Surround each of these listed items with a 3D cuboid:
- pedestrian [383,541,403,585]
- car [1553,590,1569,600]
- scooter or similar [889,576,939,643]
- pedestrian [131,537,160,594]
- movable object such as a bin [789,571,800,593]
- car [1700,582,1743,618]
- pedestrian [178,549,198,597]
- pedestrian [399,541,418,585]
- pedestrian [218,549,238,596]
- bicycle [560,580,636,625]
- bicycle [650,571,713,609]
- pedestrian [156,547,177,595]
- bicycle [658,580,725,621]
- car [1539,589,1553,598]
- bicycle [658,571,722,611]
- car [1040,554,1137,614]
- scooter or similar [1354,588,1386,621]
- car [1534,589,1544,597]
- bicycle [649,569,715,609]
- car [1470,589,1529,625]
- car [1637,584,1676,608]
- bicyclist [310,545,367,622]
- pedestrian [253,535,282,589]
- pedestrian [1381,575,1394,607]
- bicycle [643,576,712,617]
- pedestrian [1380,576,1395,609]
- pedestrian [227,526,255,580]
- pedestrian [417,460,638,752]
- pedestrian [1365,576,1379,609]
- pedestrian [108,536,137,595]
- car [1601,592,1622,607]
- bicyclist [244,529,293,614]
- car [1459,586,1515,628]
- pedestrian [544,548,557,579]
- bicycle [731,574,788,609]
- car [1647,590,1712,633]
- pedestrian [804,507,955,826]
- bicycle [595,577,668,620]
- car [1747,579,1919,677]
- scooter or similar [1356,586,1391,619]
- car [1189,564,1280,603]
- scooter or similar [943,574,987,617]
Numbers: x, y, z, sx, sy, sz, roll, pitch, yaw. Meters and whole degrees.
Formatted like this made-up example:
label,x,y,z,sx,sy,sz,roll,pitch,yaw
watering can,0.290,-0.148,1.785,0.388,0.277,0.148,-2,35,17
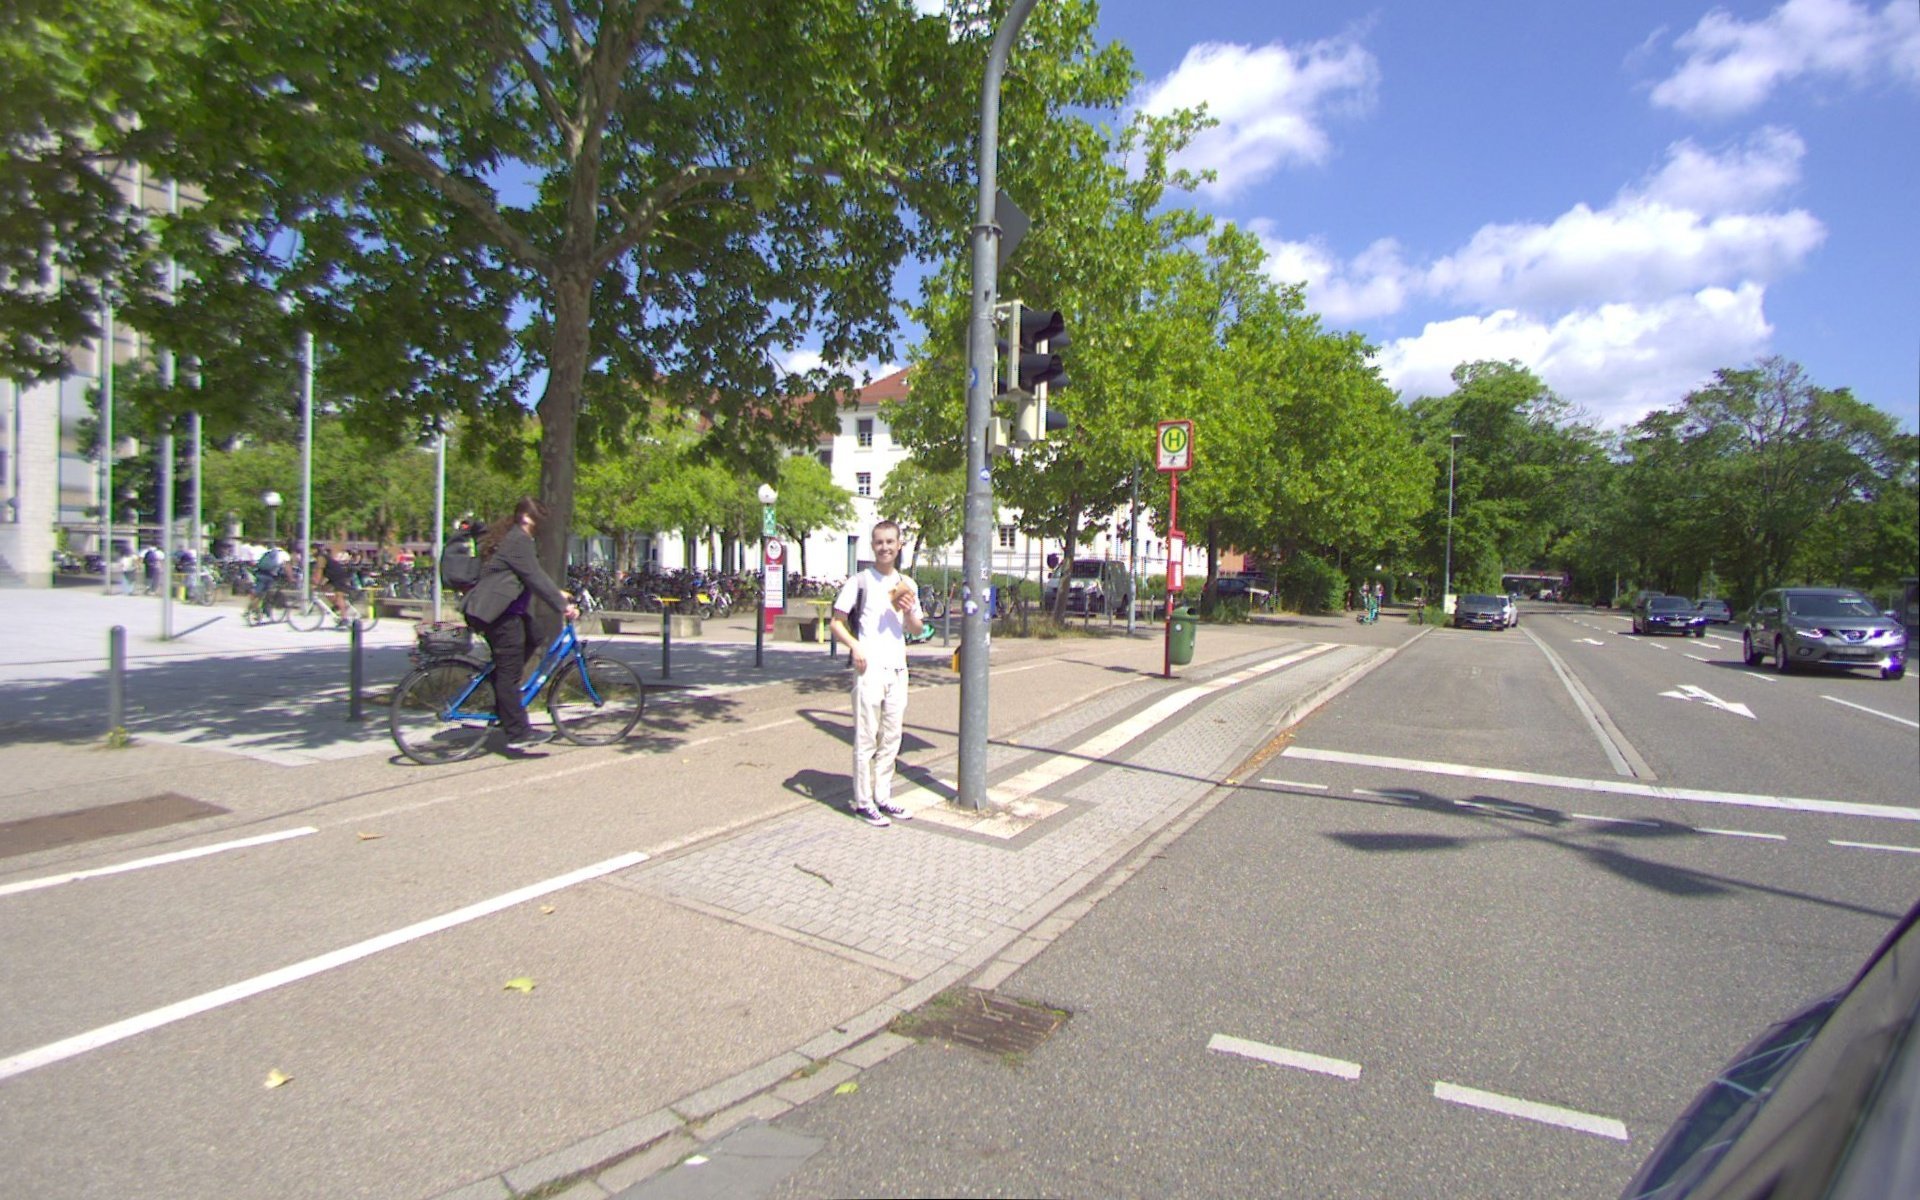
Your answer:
label,x,y,z,sx,sy,sz,roll,pitch,yaw
pedestrian,-29.034,-1.883,51.838,0.622,2.257,0.717,0,0,-2
car,89.518,-0.737,150.649,1.886,1.530,3.783,0,1,33
scooter or similar,-0.817,0.156,18.216,0.350,1.180,1.181,0,0,28
pedestrian,-25.368,-1.061,31.521,0.624,1.768,0.714,-1,0,-44
movable object such as a bin,-8.288,-0.897,50.748,0.385,1.068,0.365,3,1,24
car,44.170,0.008,58.778,1.720,1.833,4.671,5,2,35
pedestrian,-37.267,-1.296,48.874,0.704,2.257,0.633,-1,0,-43
pedestrian,-28.202,-1.892,51.750,0.622,2.257,0.717,0,0,-2
pedestrian,-34.896,-1.308,48.255,0.704,2.257,0.633,-1,0,-43
bicycle,-9.249,0.057,25.915,1.733,1.113,0.604,-1,0,-2
bicycle,-8.541,-0.320,31.084,1.733,1.113,0.604,1,0,-2
pedestrian,-37.774,-1.387,48.160,0.704,2.257,0.633,-1,0,-43
bicycle,-7.577,0.004,28.636,1.733,1.113,0.604,1,0,-2
car,98.122,-1.074,169.446,1.886,1.530,3.783,0,1,33
bicycle,-7.989,-0.268,30.015,1.733,1.113,0.604,2,0,-2
car,4.456,-0.559,34.512,1.884,1.888,4.899,1,1,25
scooter or similar,15.163,0.173,37.411,0.528,1.183,1.551,4,2,41
car,118.898,-1.409,207.687,1.743,1.530,3.788,0,1,30
bicycle,-8.031,-0.318,29.270,1.733,1.112,0.604,1,1,-2
car,24.489,0.299,45.829,1.733,1.468,4.879,4,2,35
car,56.573,-0.356,82.285,1.885,1.834,4.689,1,1,26
bicyclist,-13.114,-0.346,21.368,0.914,1.583,0.664,1,1,-23
pedestrian,-29.400,-1.614,42.965,0.836,2.257,0.635,-1,0,-17
pedestrian,24.350,-0.502,57.643,0.676,1.803,0.785,0,0,21
bicycle,-7.746,-0.097,27.805,1.733,1.113,0.604,-1,0,-2
pedestrian,23.368,-0.404,55.339,0.676,1.803,0.785,0,0,21
pedestrian,-30.365,-1.975,42.745,0.702,2.257,0.634,0,0,-2
pedestrian,-3.036,-0.006,7.117,0.855,1.840,1.157,8,7,44
pedestrian,22.716,-0.407,55.816,0.676,1.803,0.786,0,0,21
pedestrian,-25.651,-1.052,31.000,0.624,1.768,0.714,-1,0,-44
car,72.946,-0.072,113.262,1.886,1.530,3.783,0,1,33
bicyclist,-15.320,-0.627,22.433,0.649,1.868,0.763,-1,0,-12
car,21.600,0.274,41.472,1.846,1.497,4.892,4,1,28
pedestrian,-23.379,-2.095,57.822,0.440,1.738,0.502,3,1,24
bicycle,-6.529,-0.290,33.013,1.733,1.113,0.604,-1,0,-2
car,26.216,0.374,36.860,1.820,1.433,4.136,1,1,36
pedestrian,-0.493,0.368,6.204,0.594,1.822,0.601,5,2,44
bicycle,-8.622,-0.044,26.614,1.733,1.113,0.604,-1,0,-2
car,17.157,0.494,20.004,1.809,1.700,4.433,0,0,29
scooter or similar,16.170,0.100,39.595,1.263,1.262,0.531,2,1,-28
car,13.205,-0.778,48.672,3.959,1.805,1.982,0,1,26
scooter or similar,0.156,-0.133,30.112,1.279,1.248,0.280,1,2,15
